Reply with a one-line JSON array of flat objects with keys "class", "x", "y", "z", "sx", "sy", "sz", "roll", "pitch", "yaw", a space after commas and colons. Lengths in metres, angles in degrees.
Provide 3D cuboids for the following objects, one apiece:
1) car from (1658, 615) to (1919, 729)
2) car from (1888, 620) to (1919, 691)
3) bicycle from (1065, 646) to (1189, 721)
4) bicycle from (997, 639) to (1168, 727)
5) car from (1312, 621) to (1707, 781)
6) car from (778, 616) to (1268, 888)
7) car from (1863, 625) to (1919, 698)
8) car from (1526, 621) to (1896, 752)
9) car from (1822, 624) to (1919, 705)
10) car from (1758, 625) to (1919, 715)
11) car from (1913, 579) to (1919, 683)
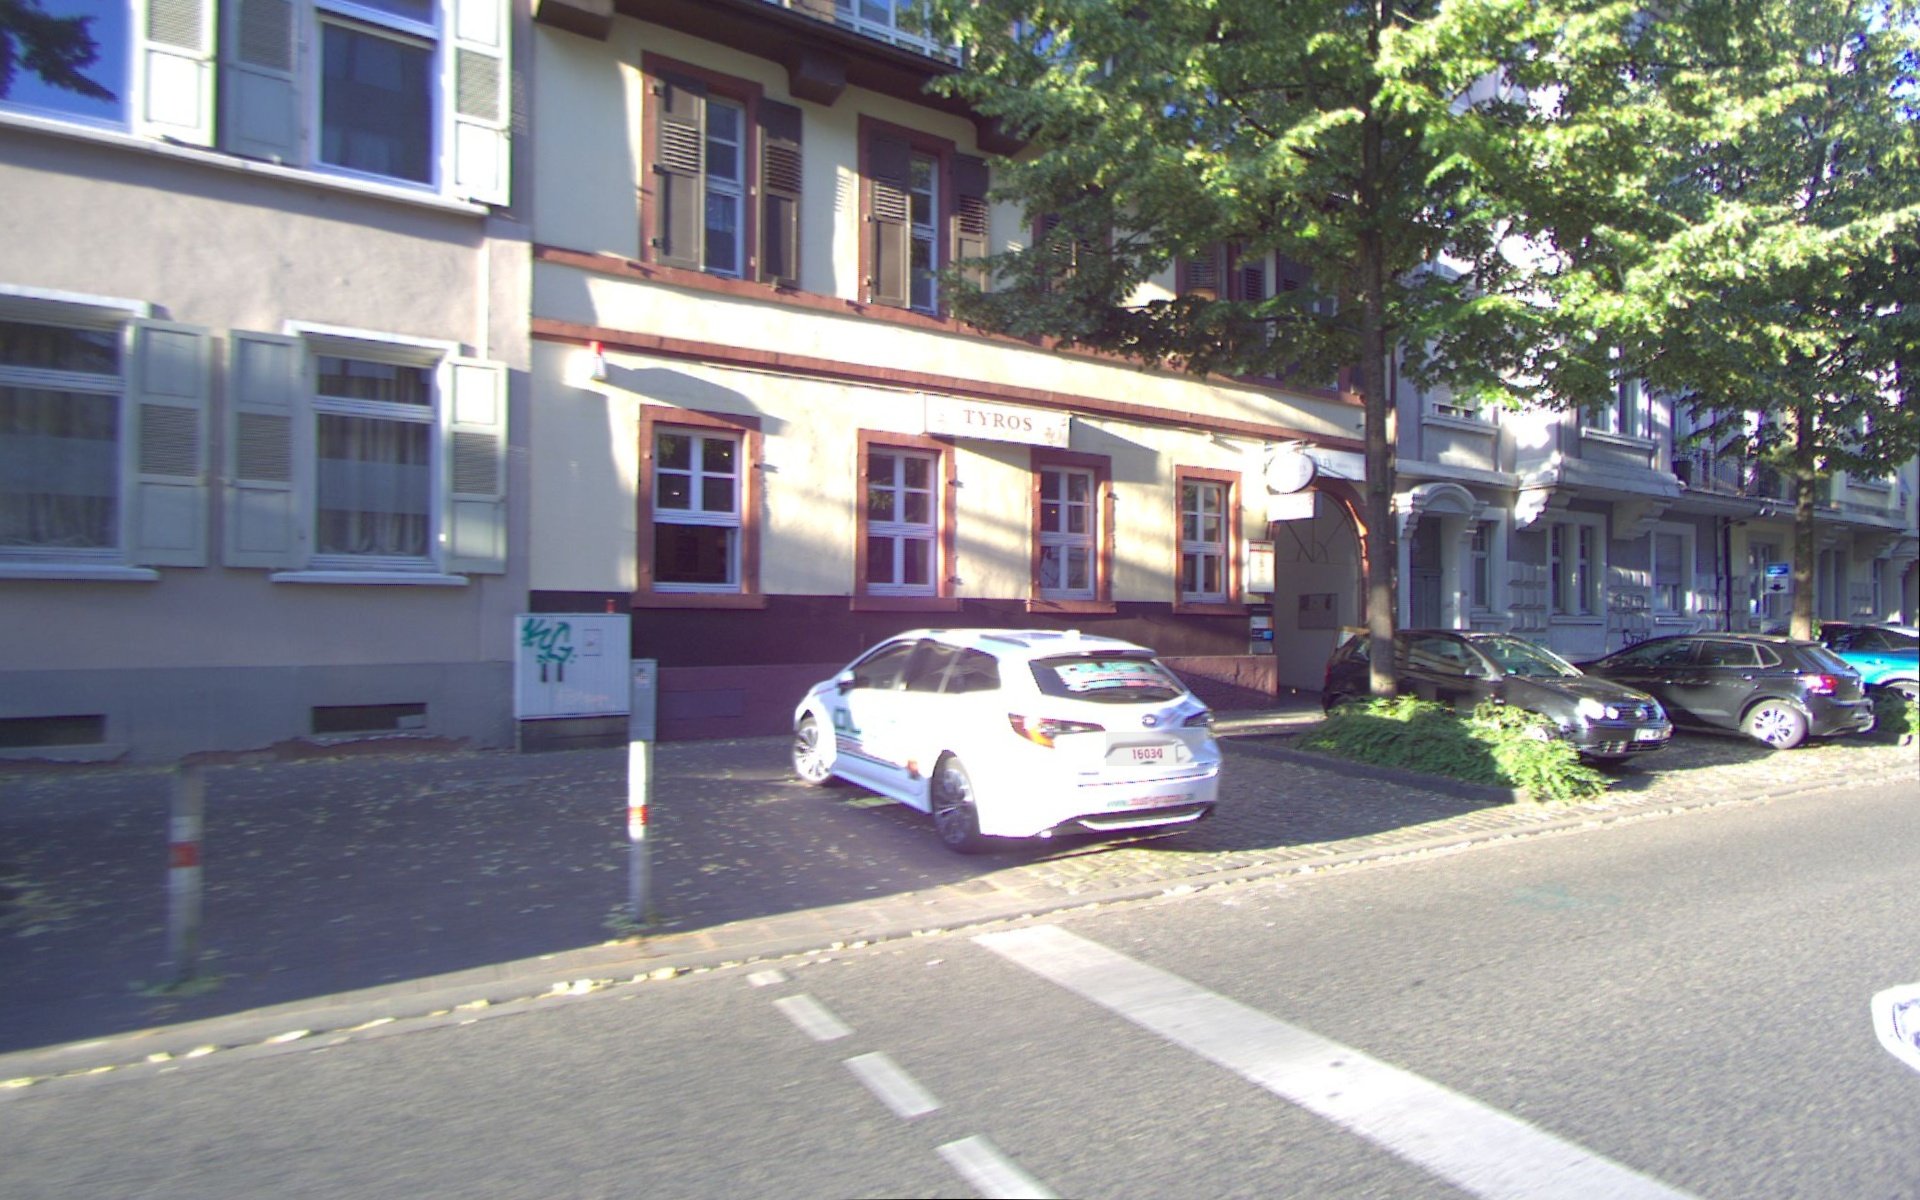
[{"class": "car", "x": 14.579, "y": 1.128, "z": 16.951, "sx": 1.873, "sy": 1.672, "sz": 4.205, "roll": 1, "pitch": 0, "yaw": -33}, {"class": "car", "x": 23.826, "y": 1.313, "z": 22.412, "sx": 1.951, "sy": 1.621, "sz": 4.195, "roll": 1, "pitch": 0, "yaw": -28}, {"class": "bicycle", "x": 2.414, "y": 1.178, "z": 14.489, "sx": 1.710, "sy": 1.002, "sz": 0.618, "roll": 1, "pitch": 0, "yaw": -26}, {"class": "bicycle", "x": 1.704, "y": 1.111, "z": 13.859, "sx": 2.332, "sy": 1.114, "sz": 0.708, "roll": 1, "pitch": 0, "yaw": -26}, {"class": "car", "x": 6.266, "y": 1.035, "z": 11.903, "sx": 1.767, "sy": 1.468, "sz": 3.770, "roll": 1, "pitch": 0, "yaw": -27}, {"class": "car", "x": 0.150, "y": 0.898, "z": 7.989, "sx": 1.801, "sy": 1.442, "sz": 4.361, "roll": 1, "pitch": 0, "yaw": -30}, {"class": "car", "x": 21.774, "y": 1.343, "z": 20.842, "sx": 1.772, "sy": 1.526, "sz": 4.193, "roll": 1, "pitch": 0, "yaw": -30}, {"class": "car", "x": 10.538, "y": 1.111, "z": 14.391, "sx": 1.678, "sy": 1.468, "sz": 3.893, "roll": 1, "pitch": 0, "yaw": -32}, {"class": "car", "x": 19.505, "y": 1.292, "z": 19.794, "sx": 1.822, "sy": 1.530, "sz": 3.396, "roll": 1, "pitch": 0, "yaw": -26}, {"class": "car", "x": 17.217, "y": 1.248, "z": 18.005, "sx": 1.947, "sy": 1.502, "sz": 4.165, "roll": 1, "pitch": 0, "yaw": -30}, {"class": "car", "x": 26.884, "y": 0.824, "z": 23.975, "sx": 2.145, "sy": 2.656, "sz": 5.633, "roll": 1, "pitch": 0, "yaw": -29}]
